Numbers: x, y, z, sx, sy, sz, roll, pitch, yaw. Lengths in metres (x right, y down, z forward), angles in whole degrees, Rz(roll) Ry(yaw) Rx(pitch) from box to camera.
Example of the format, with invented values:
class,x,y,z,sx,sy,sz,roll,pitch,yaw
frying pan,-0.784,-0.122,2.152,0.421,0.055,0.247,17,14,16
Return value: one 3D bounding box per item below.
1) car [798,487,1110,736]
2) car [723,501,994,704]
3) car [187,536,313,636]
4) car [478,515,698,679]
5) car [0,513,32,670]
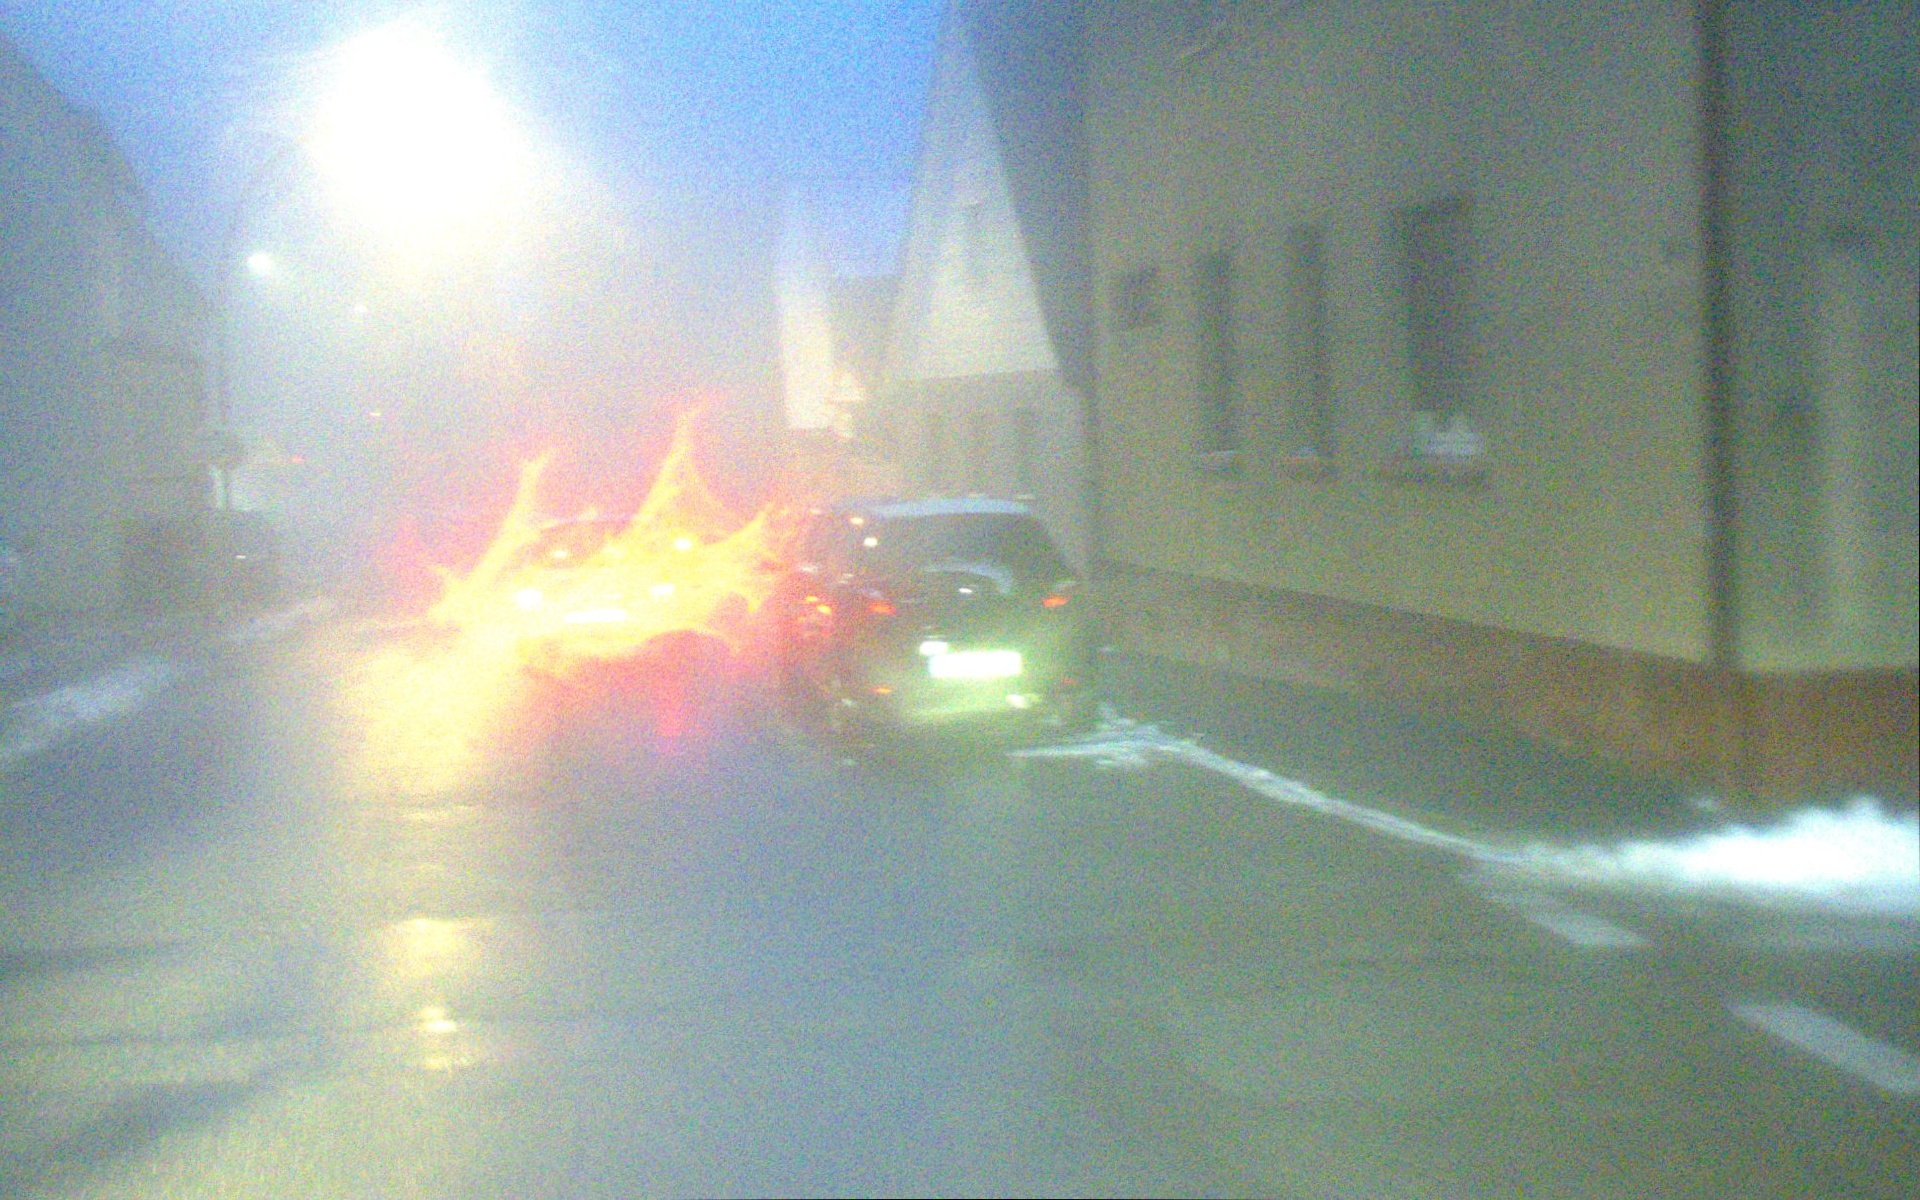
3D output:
class,x,y,z,sx,sy,sz,roll,pitch,yaw
car,-0.126,0.033,22.801,1.716,1.494,3.908,0,1,-5
car,-0.912,-0.024,28.173,1.910,1.476,4.283,-2,1,-5
car,-11.955,-0.271,58.103,1.993,1.517,4.192,0,3,-10
car,-3.608,-0.030,33.940,1.993,1.503,4.000,1,0,-4
car,-11.876,-0.172,40.217,1.764,1.730,4.641,3,0,-14
